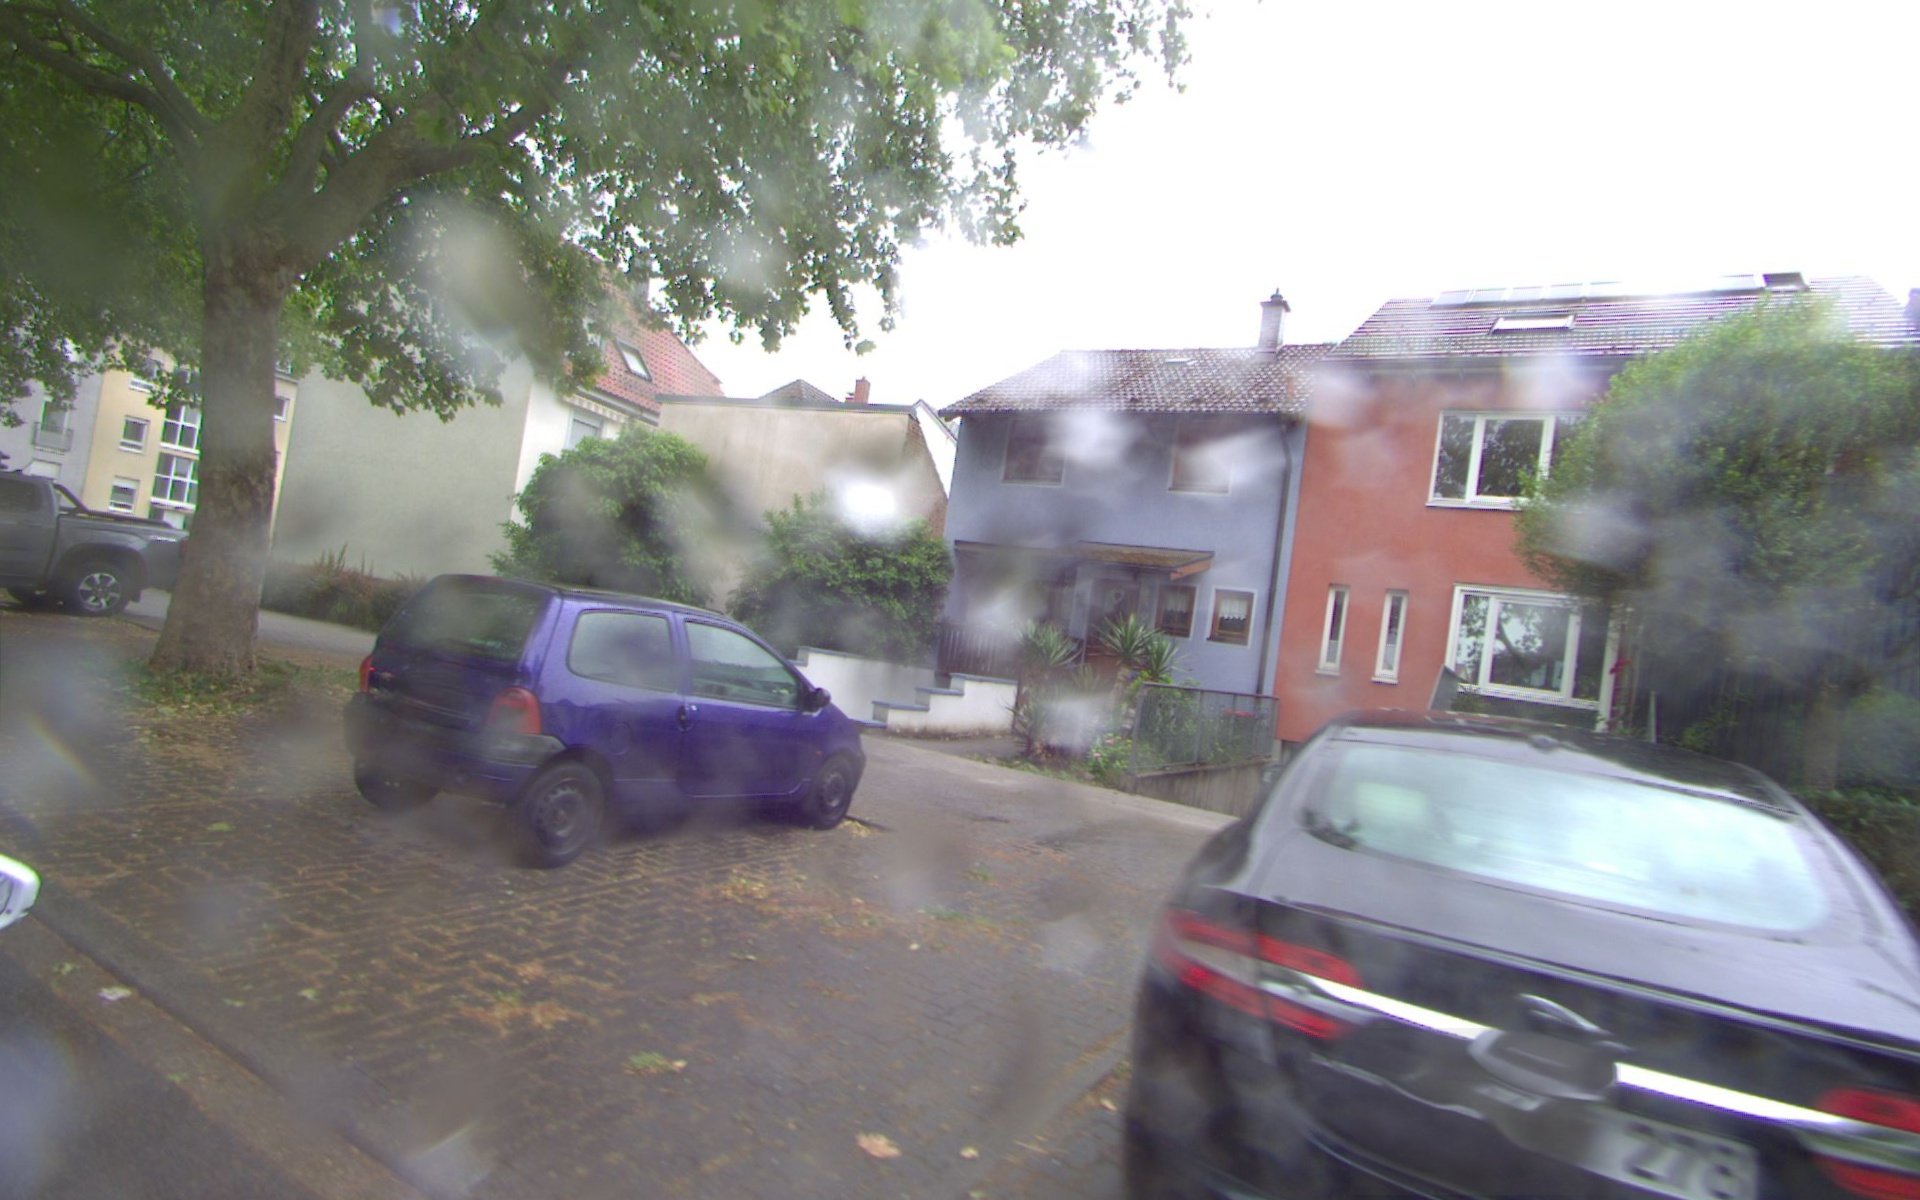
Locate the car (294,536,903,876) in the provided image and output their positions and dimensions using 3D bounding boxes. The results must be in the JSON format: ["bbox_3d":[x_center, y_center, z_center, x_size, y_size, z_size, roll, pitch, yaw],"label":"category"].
[{"bbox_3d":[-2.038,0.660,6.567,1.591,1.480,3.365,7,-3,30],"label":"car"}]

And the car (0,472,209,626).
[{"bbox_3d":[-13.312,-0.856,13.063,1.812,1.827,5.356,8,-2,25],"label":"car"}]

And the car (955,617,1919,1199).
[{"bbox_3d":[1.955,1.117,3.587,1.904,1.489,4.780,8,-2,28],"label":"car"}]
